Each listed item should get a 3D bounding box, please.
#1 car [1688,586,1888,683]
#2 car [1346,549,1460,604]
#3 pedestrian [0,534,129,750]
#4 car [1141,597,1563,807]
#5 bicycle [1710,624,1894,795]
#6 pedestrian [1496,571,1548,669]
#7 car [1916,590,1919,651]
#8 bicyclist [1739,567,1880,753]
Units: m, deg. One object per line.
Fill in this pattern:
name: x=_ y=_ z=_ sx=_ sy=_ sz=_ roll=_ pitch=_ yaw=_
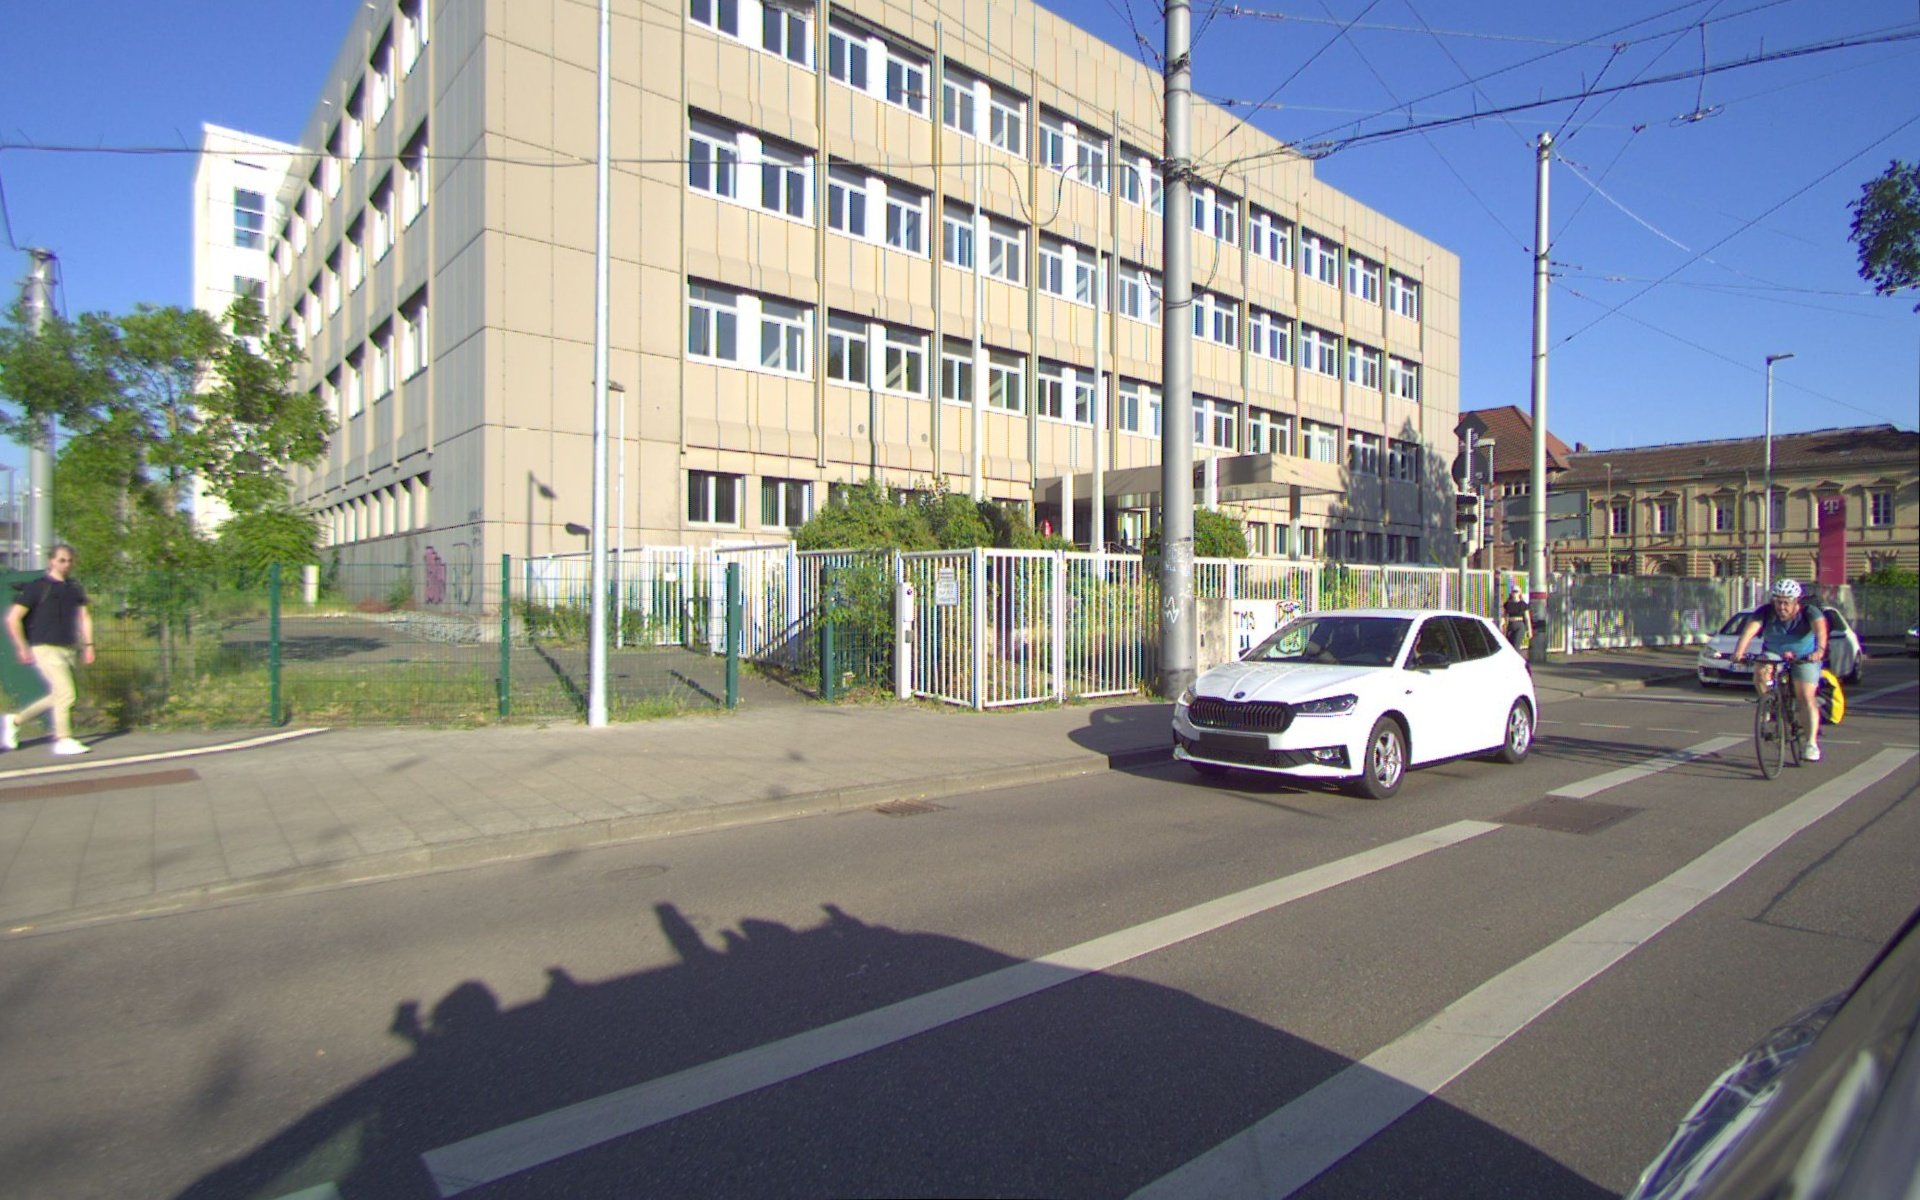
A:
car: x=14.914 y=0.568 z=18.162 sx=4.222 sy=1.522 sz=1.793 roll=-1 pitch=-2 yaw=-37
car: x=16.152 y=-0.826 z=36.819 sx=4.702 sy=1.865 sz=1.997 roll=-1 pitch=1 yaw=-41
pedestrian: x=-8.248 y=0.363 z=9.035 sx=1.063 sy=1.835 sz=0.735 roll=-1 pitch=0 yaw=6
car: x=3.562 y=0.700 z=8.866 sx=4.002 sy=1.407 sz=1.704 roll=-1 pitch=0 yaw=-40
bicycle: x=6.993 y=0.818 z=8.358 sx=2.265 sy=1.158 sz=0.764 roll=-1 pitch=1 yaw=-40
pedestrian: x=10.508 y=0.359 z=18.928 sx=0.756 sy=1.784 sz=0.592 roll=0 pitch=0 yaw=-36
car: x=28.147 y=0.508 z=28.136 sx=4.226 sy=1.664 sz=1.791 roll=-1 pitch=-2 yaw=-41
bicyclist: x=7.034 y=0.460 z=8.378 sx=0.844 sy=1.440 sz=0.727 roll=-1 pitch=-1 yaw=-40
